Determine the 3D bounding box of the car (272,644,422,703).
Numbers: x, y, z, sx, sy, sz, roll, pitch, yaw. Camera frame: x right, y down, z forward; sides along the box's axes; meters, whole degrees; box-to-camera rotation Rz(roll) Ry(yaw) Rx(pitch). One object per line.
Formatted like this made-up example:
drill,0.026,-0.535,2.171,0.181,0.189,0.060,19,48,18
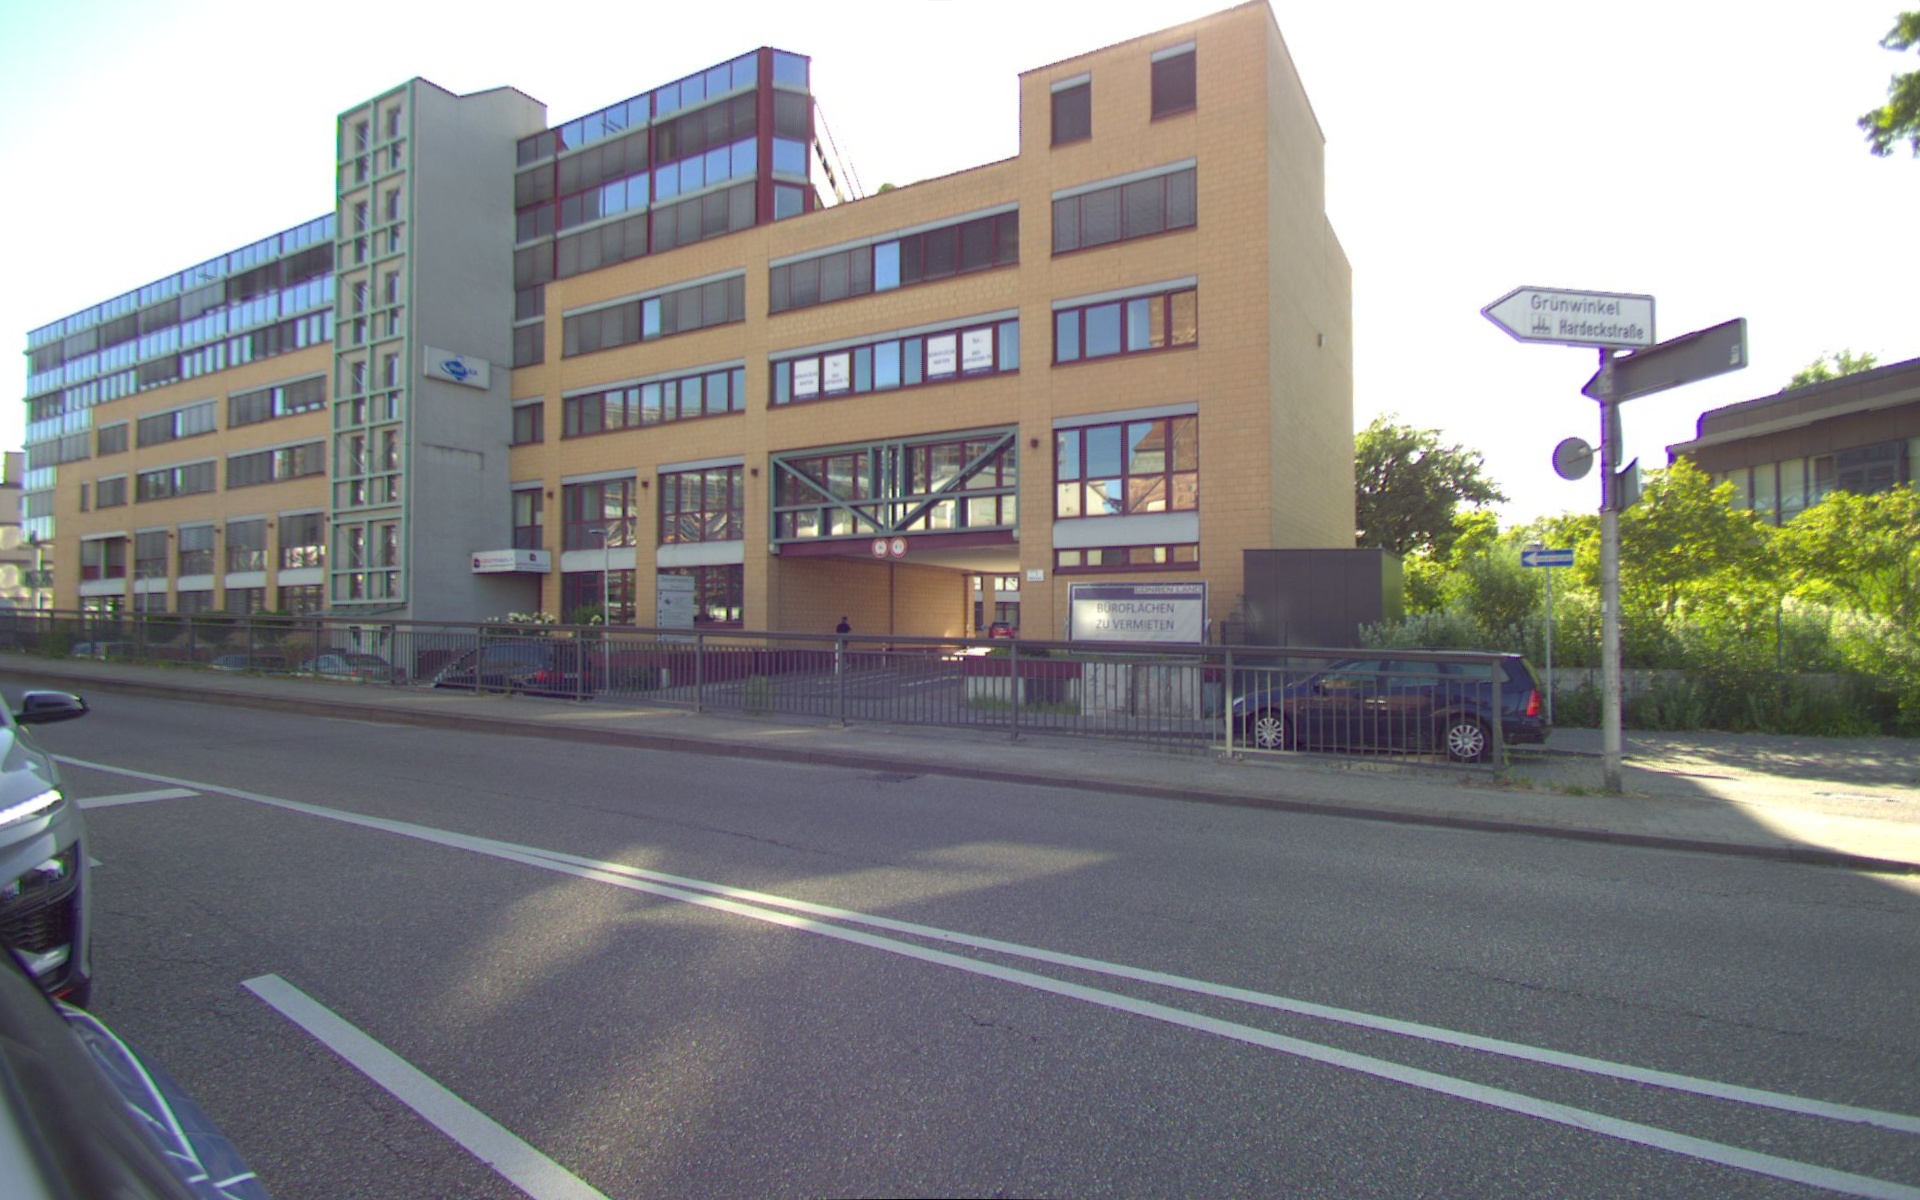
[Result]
car,-17.493,2.056,28.858,4.143,1.535,1.862,-2,-3,29

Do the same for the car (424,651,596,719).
car,-11.037,2.033,24.788,4.139,1.535,1.624,-2,-3,27

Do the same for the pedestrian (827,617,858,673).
pedestrian,-3.994,1.539,34.458,0.703,1.865,0.738,-2,-1,35

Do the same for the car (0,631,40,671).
car,-40.078,2.096,41.901,3.988,1.519,1.978,-1,0,33

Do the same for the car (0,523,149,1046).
car,-4.934,0.618,4.164,4.196,1.634,1.854,-2,-3,42

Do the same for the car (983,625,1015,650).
car,2.584,2.455,67.291,1.742,1.532,4.003,-1,0,-3

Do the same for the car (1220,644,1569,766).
car,6.164,1.463,14.583,4.367,1.520,1.640,-3,-5,34

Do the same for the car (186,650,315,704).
car,-22.137,2.356,31.549,3.986,1.576,1.865,-2,-3,32
